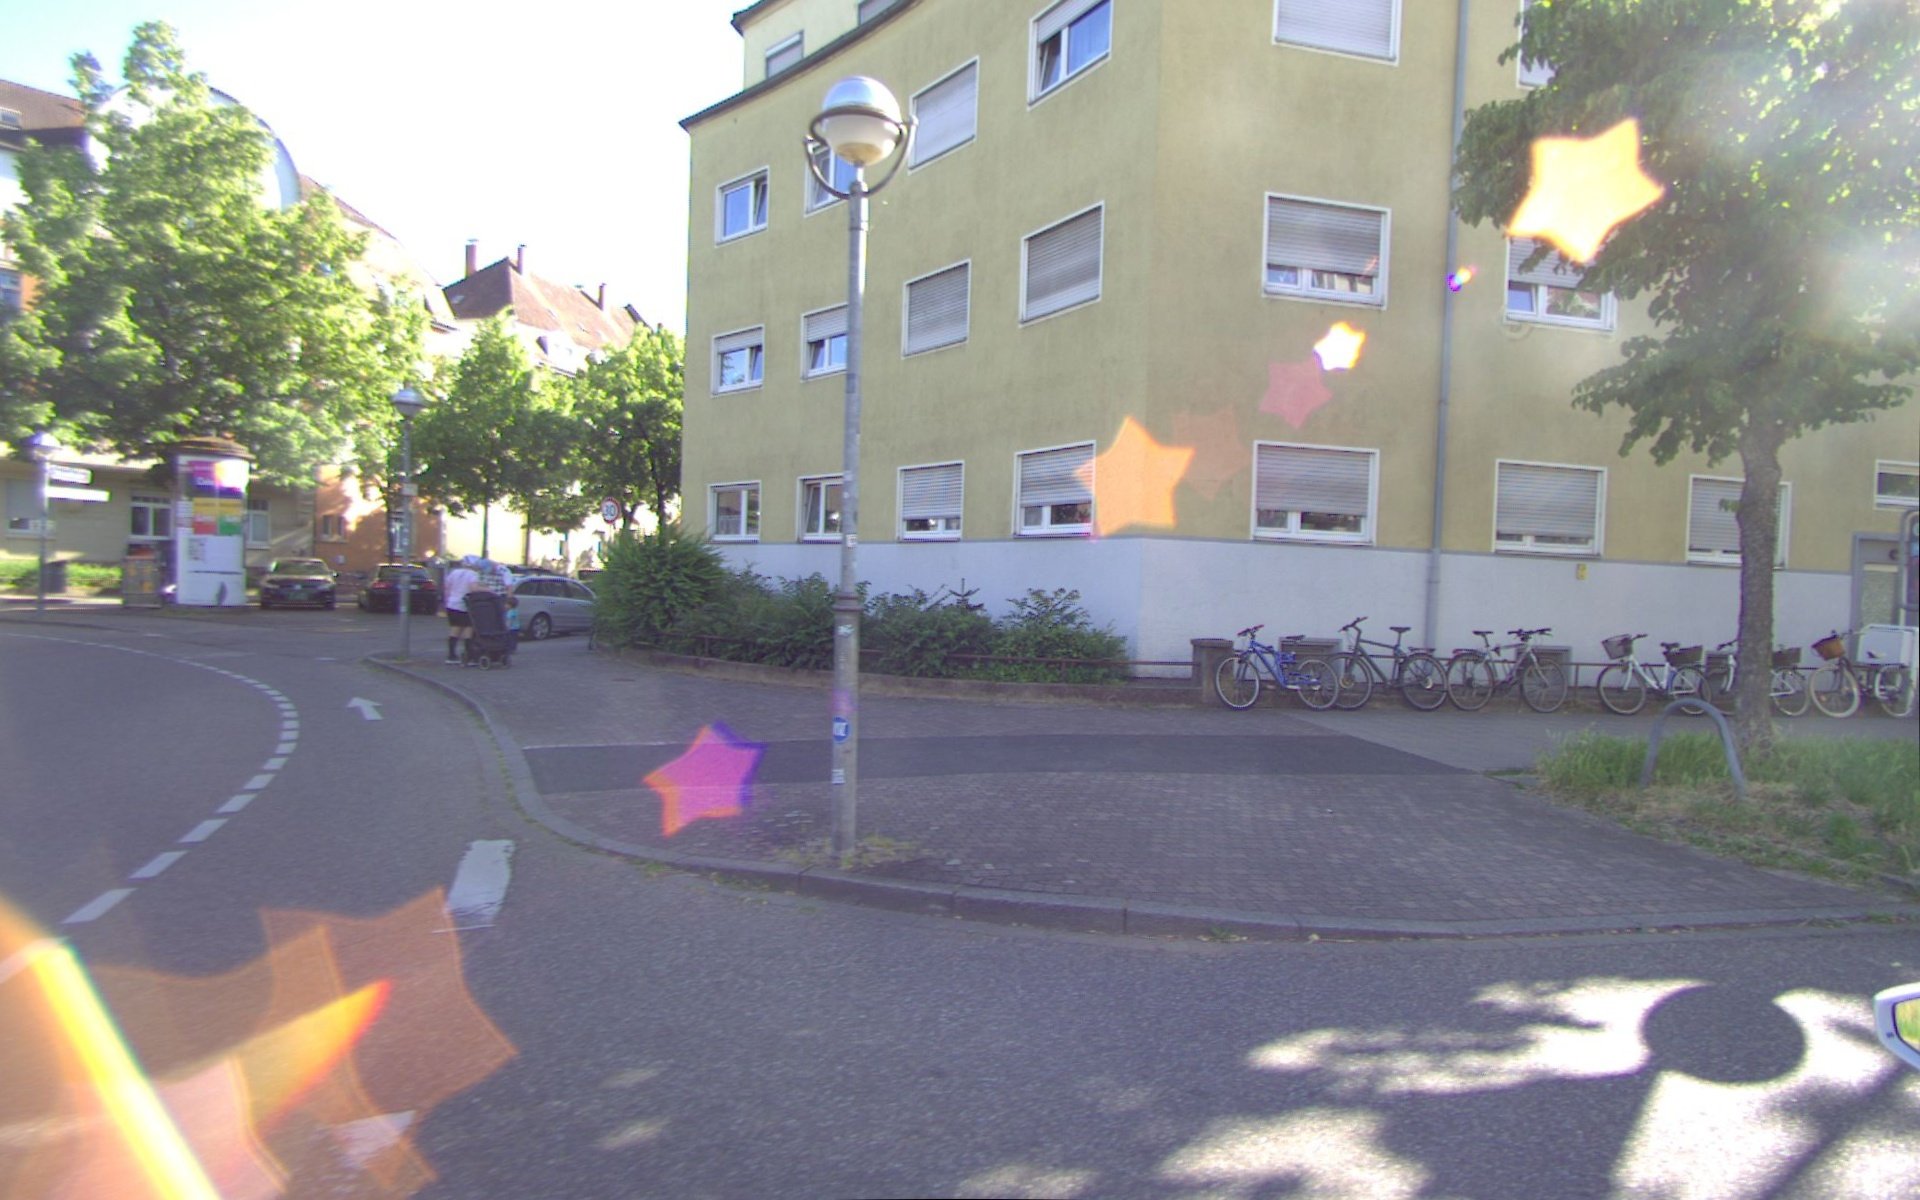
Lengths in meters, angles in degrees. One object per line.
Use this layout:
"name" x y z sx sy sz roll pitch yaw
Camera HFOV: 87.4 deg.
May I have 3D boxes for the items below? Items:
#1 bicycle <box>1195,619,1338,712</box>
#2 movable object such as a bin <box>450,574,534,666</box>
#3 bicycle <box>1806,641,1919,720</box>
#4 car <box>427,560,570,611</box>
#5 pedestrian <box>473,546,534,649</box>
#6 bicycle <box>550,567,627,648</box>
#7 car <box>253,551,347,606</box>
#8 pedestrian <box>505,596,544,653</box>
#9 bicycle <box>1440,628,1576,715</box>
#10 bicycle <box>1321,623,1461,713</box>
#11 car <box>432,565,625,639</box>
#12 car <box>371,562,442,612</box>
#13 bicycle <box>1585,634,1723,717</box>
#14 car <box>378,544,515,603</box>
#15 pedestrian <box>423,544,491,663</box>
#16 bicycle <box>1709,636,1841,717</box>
"bicycle" 3.551 0.758 11.660 1.518 1.014 0.476 2 1 -13
"movable object such as a bin" -6.480 0.265 13.905 0.832 1.212 0.765 3 1 41
"bicycle" 12.449 1.094 13.682 1.517 1.014 0.516 2 1 -10
"car" -14.635 -0.470 31.854 4.175 1.444 1.708 2 1 22
"pedestrian" -7.534 -0.042 16.596 0.734 1.637 0.756 2 1 -13
"bicycle" -6.782 0.111 18.476 0.741 1.370 2.432 2 1 -7
"car" -18.984 -0.624 29.048 1.977 1.418 3.967 2 1 -30
"pedestrian" -6.996 0.388 16.150 0.446 0.887 0.431 2 1 -5
"bicycle" 6.742 0.876 12.360 1.518 1.014 0.453 2 1 -13
"bicycle" 5.133 0.807 11.976 1.518 1.014 0.475 2 1 -13
"car" -9.603 0.031 22.729 1.859 1.463 4.001 2 1 16
"car" -16.232 -0.411 29.383 1.689 1.302 4.223 1 1 -30
"bicycle" 9.018 0.985 13.052 1.652 1.014 0.434 2 1 -13
"car" -18.104 -0.936 35.508 3.919 1.906 2.001 2 1 13
"pedestrian" -7.158 0.052 14.318 0.653 1.637 0.695 2 1 -10
"bicycle" 10.842 1.013 13.369 1.518 1.014 0.512 2 1 -13
